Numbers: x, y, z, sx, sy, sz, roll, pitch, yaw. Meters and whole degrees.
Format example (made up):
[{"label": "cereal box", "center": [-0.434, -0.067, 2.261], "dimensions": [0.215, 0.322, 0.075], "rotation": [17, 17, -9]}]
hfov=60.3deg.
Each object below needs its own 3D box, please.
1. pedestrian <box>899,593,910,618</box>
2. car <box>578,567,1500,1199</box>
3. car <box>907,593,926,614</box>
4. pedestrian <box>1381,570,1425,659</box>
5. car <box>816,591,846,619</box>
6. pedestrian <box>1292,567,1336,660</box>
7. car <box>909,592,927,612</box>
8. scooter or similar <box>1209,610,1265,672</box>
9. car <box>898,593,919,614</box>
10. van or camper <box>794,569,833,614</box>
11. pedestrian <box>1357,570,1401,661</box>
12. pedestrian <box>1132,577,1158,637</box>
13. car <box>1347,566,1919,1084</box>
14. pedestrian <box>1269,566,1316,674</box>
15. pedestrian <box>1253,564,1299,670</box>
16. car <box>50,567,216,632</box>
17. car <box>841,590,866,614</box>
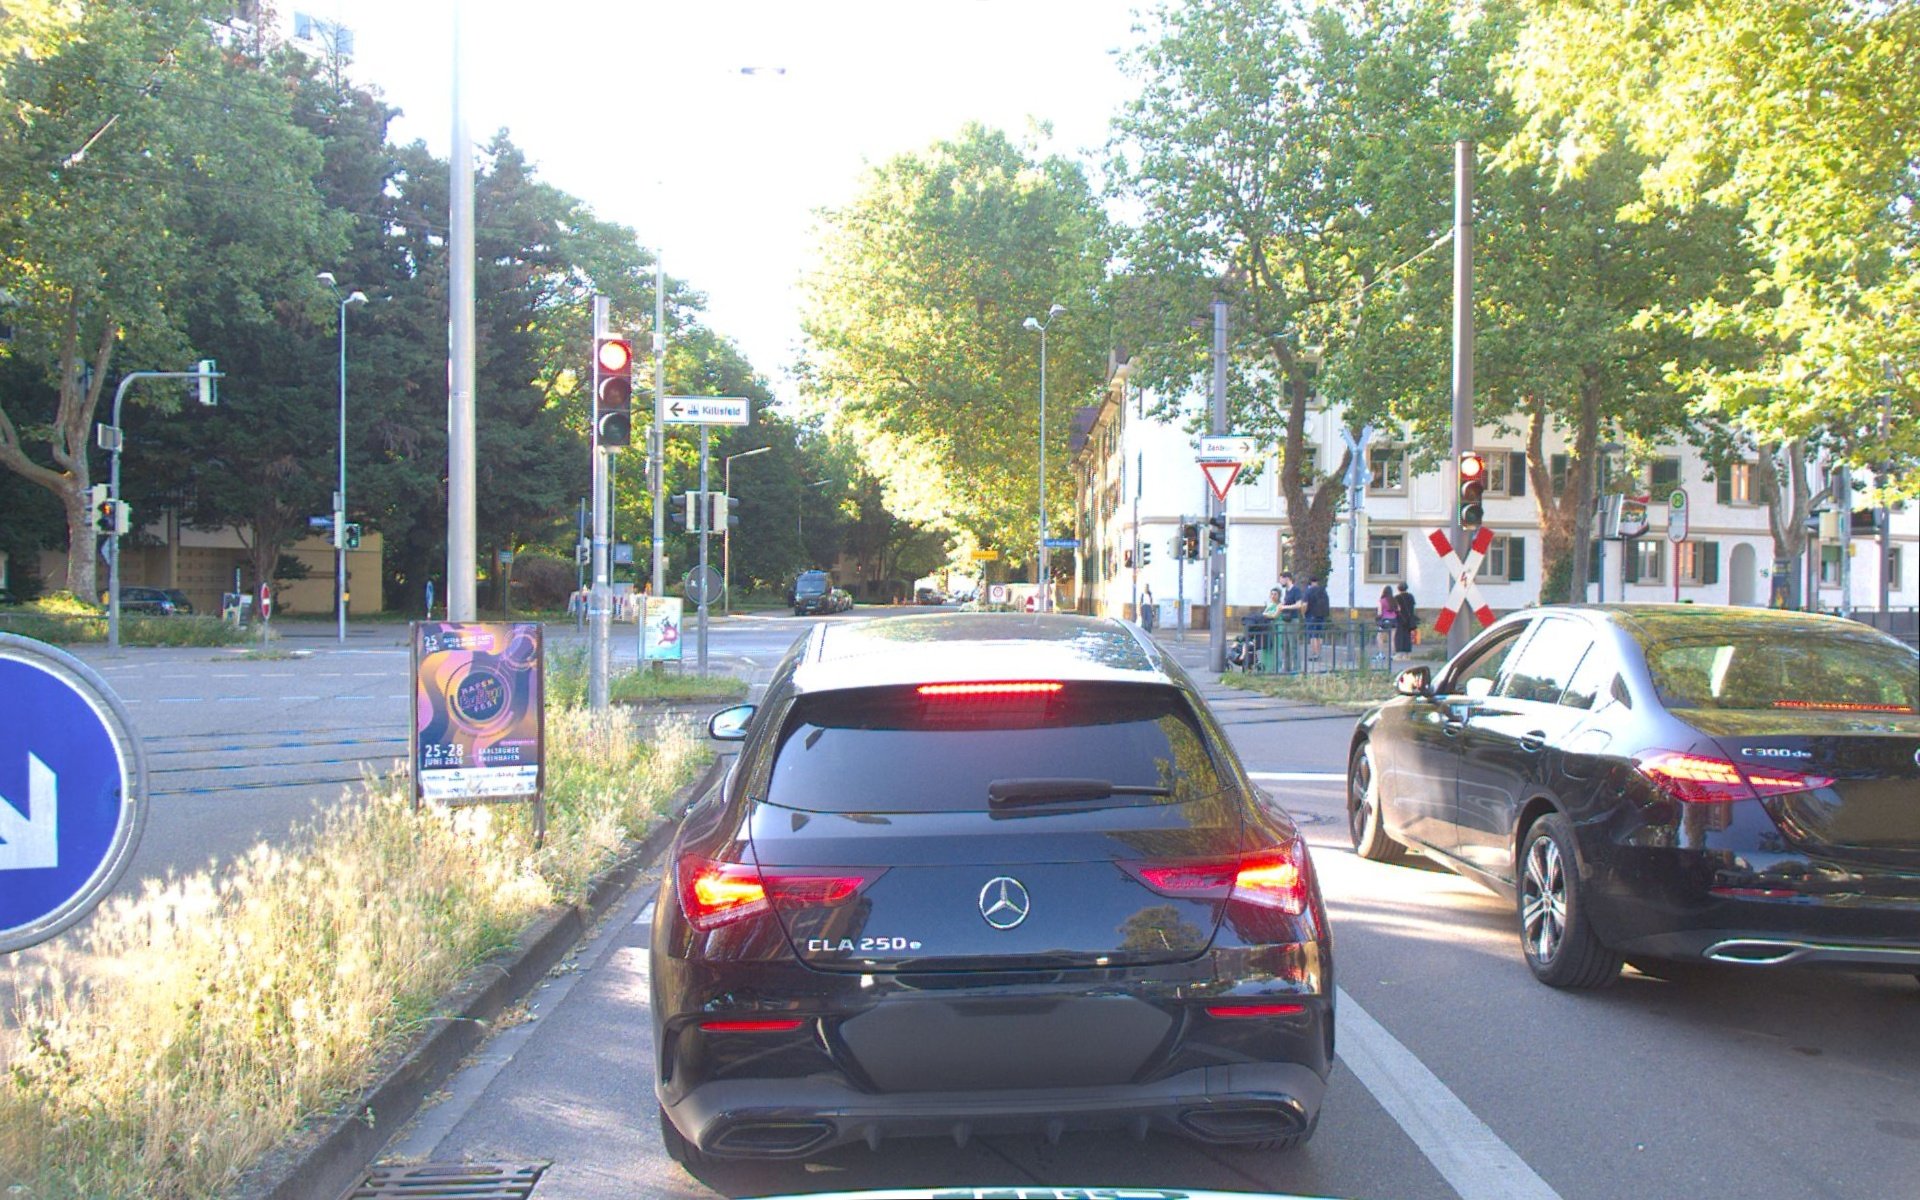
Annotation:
[{"label": "pedestrian", "center": [-4.364, 0.449, 129.949], "dimensions": [0.692, 1.951, 0.837], "rotation": [1, -1, -11]}, {"label": "car", "center": [0.175, 0.687, 5.367], "dimensions": [1.851, 1.475, 4.001], "rotation": [1, 2, 0]}, {"label": "car", "center": [-3.953, 0.310, 150.314], "dimensions": [1.698, 1.796, 4.018], "rotation": [1, 0, -1]}, {"label": "pedestrian", "center": [9.856, 0.319, 36.810], "dimensions": [0.691, 1.951, 0.838], "rotation": [1, -1, -4]}, {"label": "car", "center": [-8.533, 0.317, 109.621], "dimensions": [1.698, 1.796, 4.340], "rotation": [1, 0, -1]}, {"label": "pedestrian", "center": [7.563, 0.281, 35.321], "dimensions": [0.691, 1.951, 0.838], "rotation": [1, -1, -4]}, {"label": "car", "center": [-4.001, 0.198, 158.398], "dimensions": [1.698, 1.796, 4.018], "rotation": [1, 0, -1]}, {"label": "scooter or similar", "center": [5.108, 0.752, 30.554], "dimensions": [0.812, 1.124, 0.808], "rotation": [1, 0, -6]}, {"label": "car", "center": [-4.528, 0.342, 145.485], "dimensions": [1.698, 1.796, 4.018], "rotation": [1, 0, -1]}, {"label": "van or camper", "center": [-8.793, -0.488, 99.607], "dimensions": [1.953, 2.586, 4.650], "rotation": [1, 0, -1]}, {"label": "pedestrian", "center": [9.065, 0.331, 35.798], "dimensions": [0.691, 1.951, 0.838], "rotation": [1, -1, -4]}, {"label": "pedestrian", "center": [6.094, 0.239, 54.564], "dimensions": [0.691, 1.951, 0.838], "rotation": [1, -1, -4]}, {"label": "car", "center": [3.157, 0.665, 7.313], "dimensions": [1.851, 1.516, 4.382], "rotation": [1, 2, 0]}, {"label": "pedestrian", "center": [6.066, 0.363, 30.201], "dimensions": [0.669, 1.951, 0.707], "rotation": [1, -1, -3]}, {"label": "pedestrian", "center": [5.909, 0.310, 30.971], "dimensions": [0.669, 1.951, 0.706], "rotation": [1, -1, -5]}, {"label": "car", "center": [-24.379, -0.010, 48.846], "dimensions": [3.902, 1.805, 2.001], "rotation": [1, 0, 7]}, {"label": "car", "center": [-8.132, 0.139, 126.273], "dimensions": [1.698, 1.796, 3.970], "rotation": [1, 0, -1]}]
